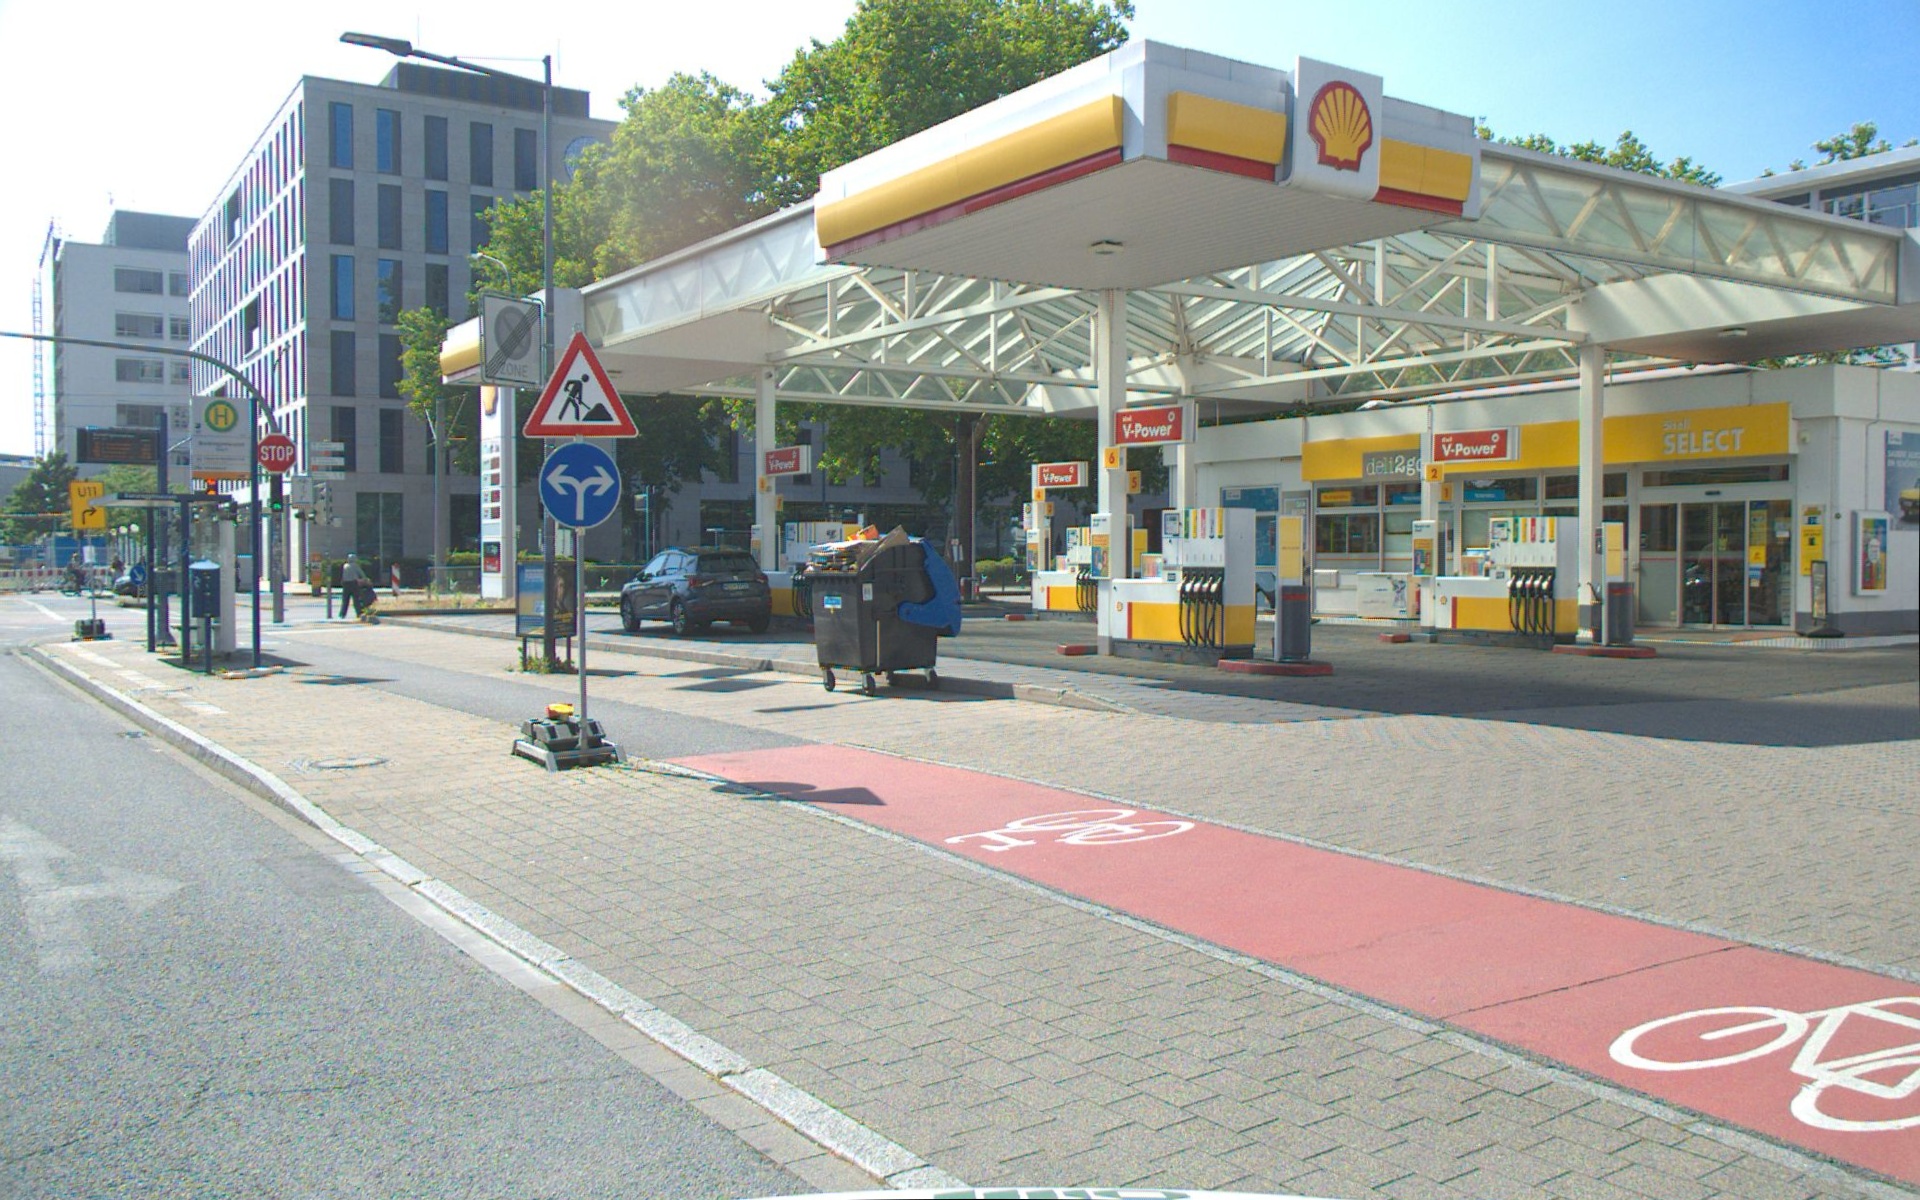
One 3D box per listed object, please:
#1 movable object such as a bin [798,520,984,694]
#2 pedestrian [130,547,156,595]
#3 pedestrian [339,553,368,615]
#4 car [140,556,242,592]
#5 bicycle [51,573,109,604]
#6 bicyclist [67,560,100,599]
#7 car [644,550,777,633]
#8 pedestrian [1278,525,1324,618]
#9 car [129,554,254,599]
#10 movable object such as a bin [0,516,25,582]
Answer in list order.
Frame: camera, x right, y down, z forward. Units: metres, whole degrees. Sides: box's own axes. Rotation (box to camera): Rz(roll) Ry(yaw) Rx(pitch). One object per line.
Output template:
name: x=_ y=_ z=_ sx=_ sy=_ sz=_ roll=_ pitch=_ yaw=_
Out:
movable object such as a bin: x=-0.708 y=0.041 z=16.721 sx=1.297 sy=1.619 sz=1.378 roll=-4 pitch=3 yaw=-36
pedestrian: x=-35.379 y=-1.258 z=71.621 sx=0.762 sy=2.048 sz=0.776 roll=0 pitch=1 yaw=-5
pedestrian: x=-15.505 y=-0.410 z=42.305 sx=0.613 sy=1.570 sz=0.456 roll=0 pitch=1 yaw=-34
car: x=-34.990 y=-1.194 z=75.278 sx=3.952 sy=1.609 sz=1.822 roll=-1 pitch=1 yaw=-34
bicycle: x=-38.106 y=-0.501 z=71.651 sx=2.201 sy=1.307 sz=0.521 roll=0 pitch=1 yaw=-26
bicyclist: x=-37.996 y=-0.898 z=71.704 sx=1.224 sy=1.702 sz=0.521 roll=0 pitch=1 yaw=-25
car: x=-4.658 y=-0.181 z=30.561 sx=1.627 sy=1.422 sz=3.617 roll=-1 pitch=1 yaw=-22
pedestrian: x=6.867 y=-0.570 z=33.311 sx=0.665 sy=1.853 sz=0.625 roll=0 pitch=1 yaw=-27
car: x=-29.341 y=-0.925 z=63.171 sx=4.077 sy=1.667 sz=1.975 roll=-1 pitch=2 yaw=-36
movable object such as a bin: x=-70.928 y=-3.617 z=115.664 sx=9.581 sy=4.629 sz=3.130 roll=-1 pitch=1 yaw=-32
